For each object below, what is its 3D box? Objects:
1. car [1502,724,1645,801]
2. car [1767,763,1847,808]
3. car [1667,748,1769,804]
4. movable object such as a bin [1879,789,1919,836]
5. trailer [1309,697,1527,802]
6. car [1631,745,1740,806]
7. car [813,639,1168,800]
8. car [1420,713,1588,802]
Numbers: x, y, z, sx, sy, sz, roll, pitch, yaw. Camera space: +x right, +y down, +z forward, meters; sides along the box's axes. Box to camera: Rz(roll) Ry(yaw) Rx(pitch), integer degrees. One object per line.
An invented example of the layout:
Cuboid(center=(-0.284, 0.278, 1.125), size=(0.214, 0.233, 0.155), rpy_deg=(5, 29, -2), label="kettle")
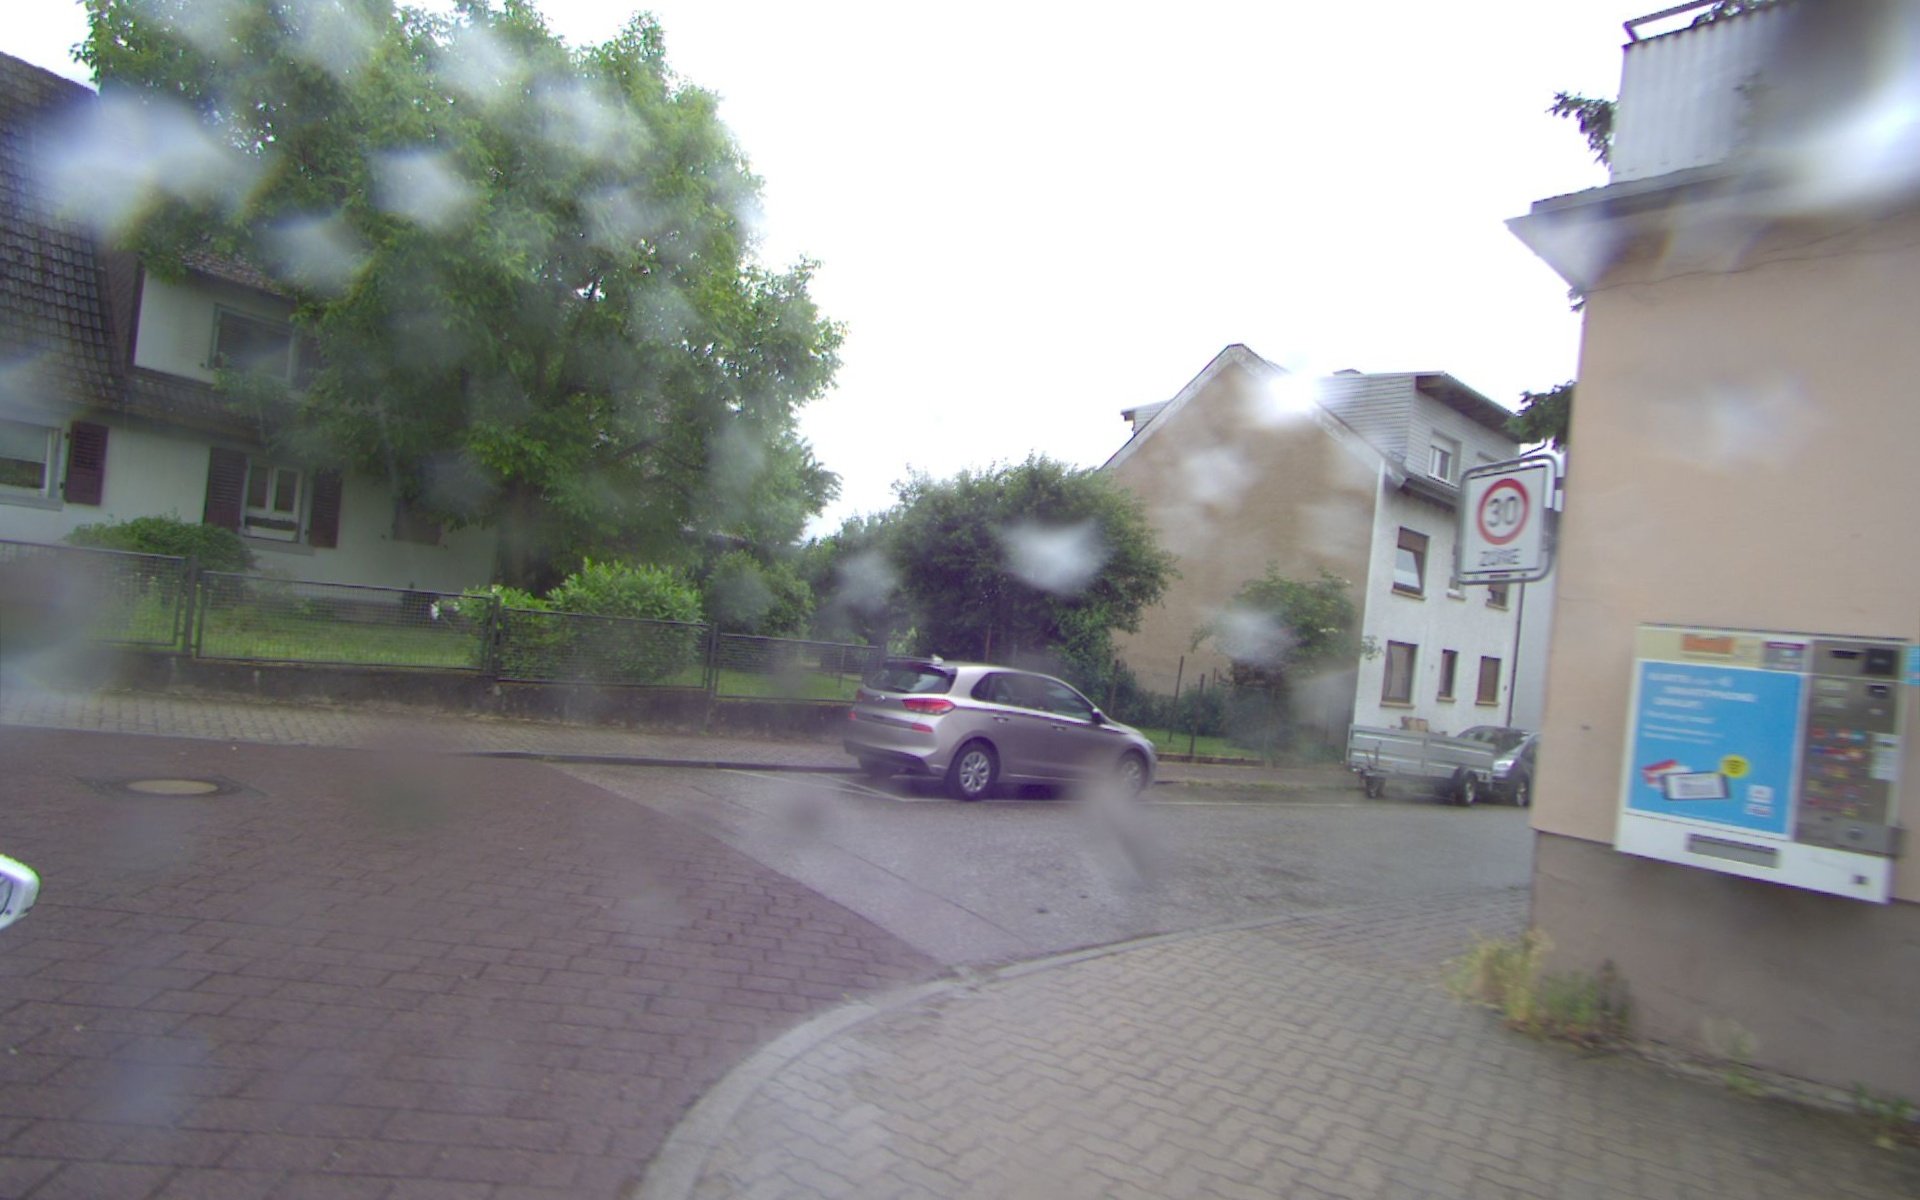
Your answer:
Cuboid(center=(15.653, 4.163, 25.587), size=(4.072, 1.587, 1.978), rpy_deg=(10, -5, -42), label="car")
Cuboid(center=(37.332, 8.175, 44.332), size=(4.068, 1.587, 1.980), rpy_deg=(10, -5, -40), label="car")
Cuboid(center=(26.859, 6.239, 35.597), size=(4.068, 1.587, 1.980), rpy_deg=(10, -5, -40), label="car")
Cuboid(center=(18.199, 4.078, 19.314), size=(0.737, 0.774, 0.693), rpy_deg=(8, -4, -37), label="movable object such as a bin")
Cuboid(center=(8.952, 2.935, 19.517), size=(4.516, 1.583, 1.984), rpy_deg=(10, -5, -39), label="trailer")
Cuboid(center=(23.395, 5.647, 32.378), size=(4.072, 1.587, 1.978), rpy_deg=(10, -5, -42), label="car")
Cuboid(center=(0.479, 1.456, 11.938), size=(3.974, 1.487, 1.773), rpy_deg=(9, -4, -41), label="car")
Cuboid(center=(12.191, 3.537, 22.450), size=(4.072, 1.587, 1.978), rpy_deg=(10, -5, -42), label="car")
